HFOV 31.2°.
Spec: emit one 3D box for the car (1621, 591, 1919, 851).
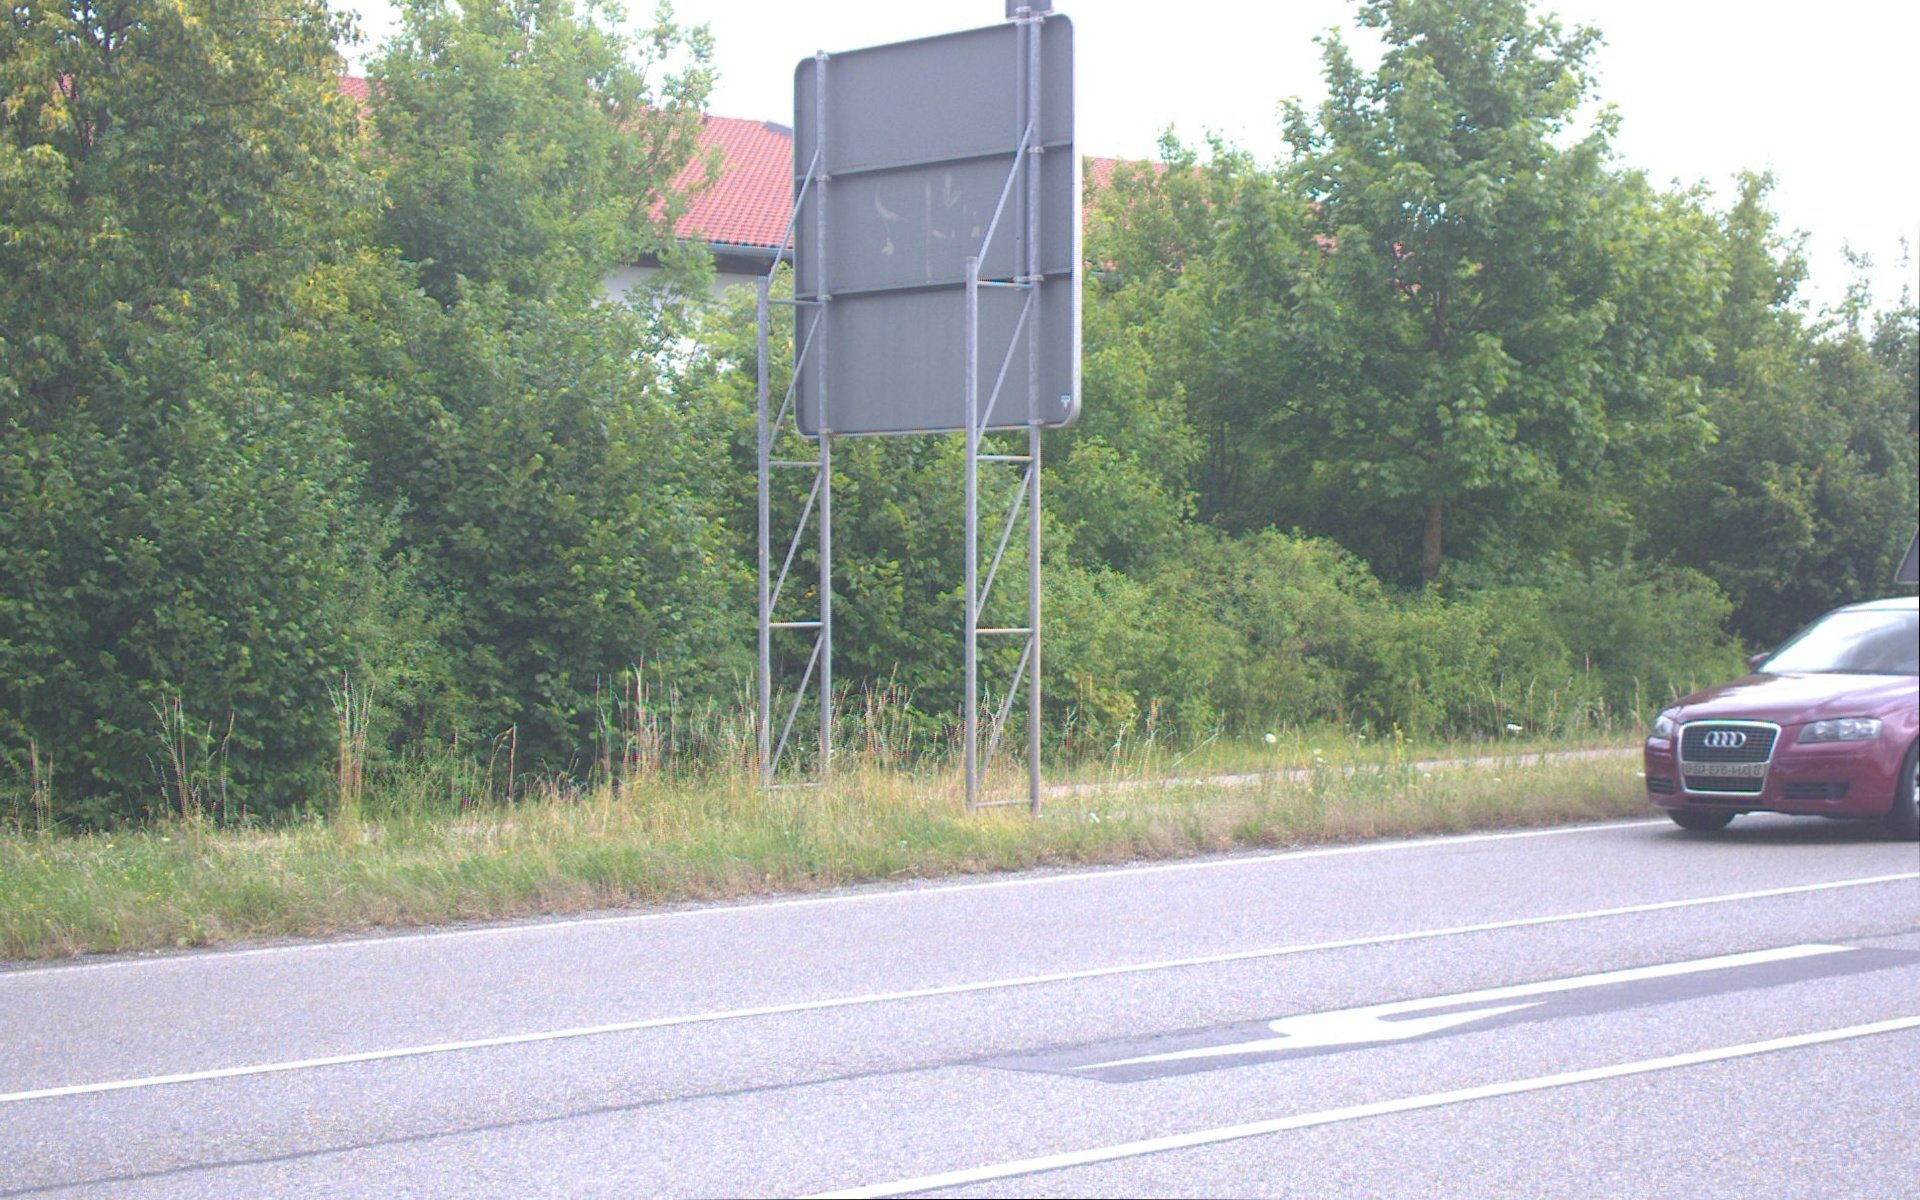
[{"bbox_3d":[5.985,0.655,21.012,4.078,1.397,1.677,-2,0,-42],"label":"car"}]
